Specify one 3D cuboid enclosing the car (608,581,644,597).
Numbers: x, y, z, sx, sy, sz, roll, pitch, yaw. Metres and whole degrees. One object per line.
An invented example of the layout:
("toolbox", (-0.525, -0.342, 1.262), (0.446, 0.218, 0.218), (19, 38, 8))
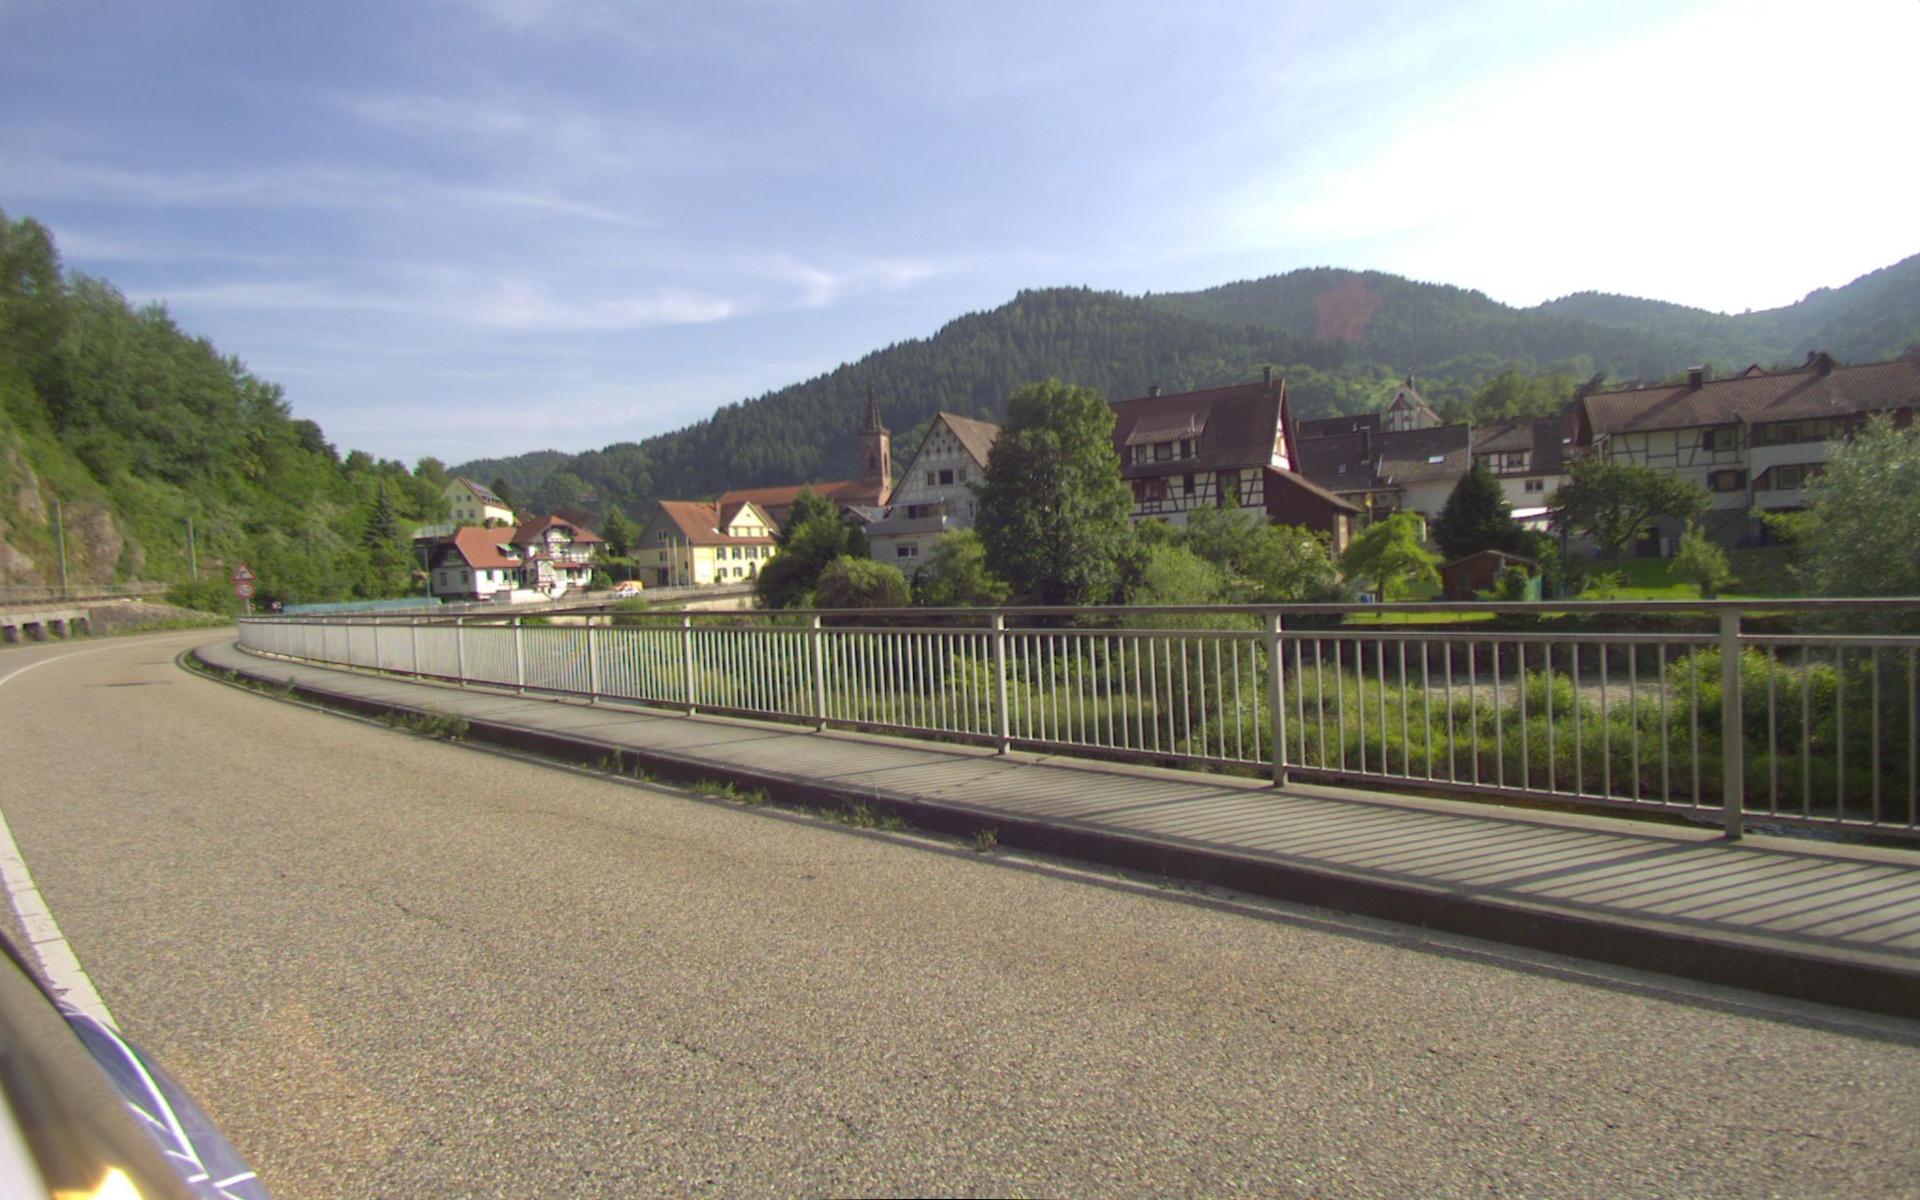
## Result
("car", (-46.930, -1.514, 142.098), (1.907, 2.013, 4.786), (-1, -2, 29))
